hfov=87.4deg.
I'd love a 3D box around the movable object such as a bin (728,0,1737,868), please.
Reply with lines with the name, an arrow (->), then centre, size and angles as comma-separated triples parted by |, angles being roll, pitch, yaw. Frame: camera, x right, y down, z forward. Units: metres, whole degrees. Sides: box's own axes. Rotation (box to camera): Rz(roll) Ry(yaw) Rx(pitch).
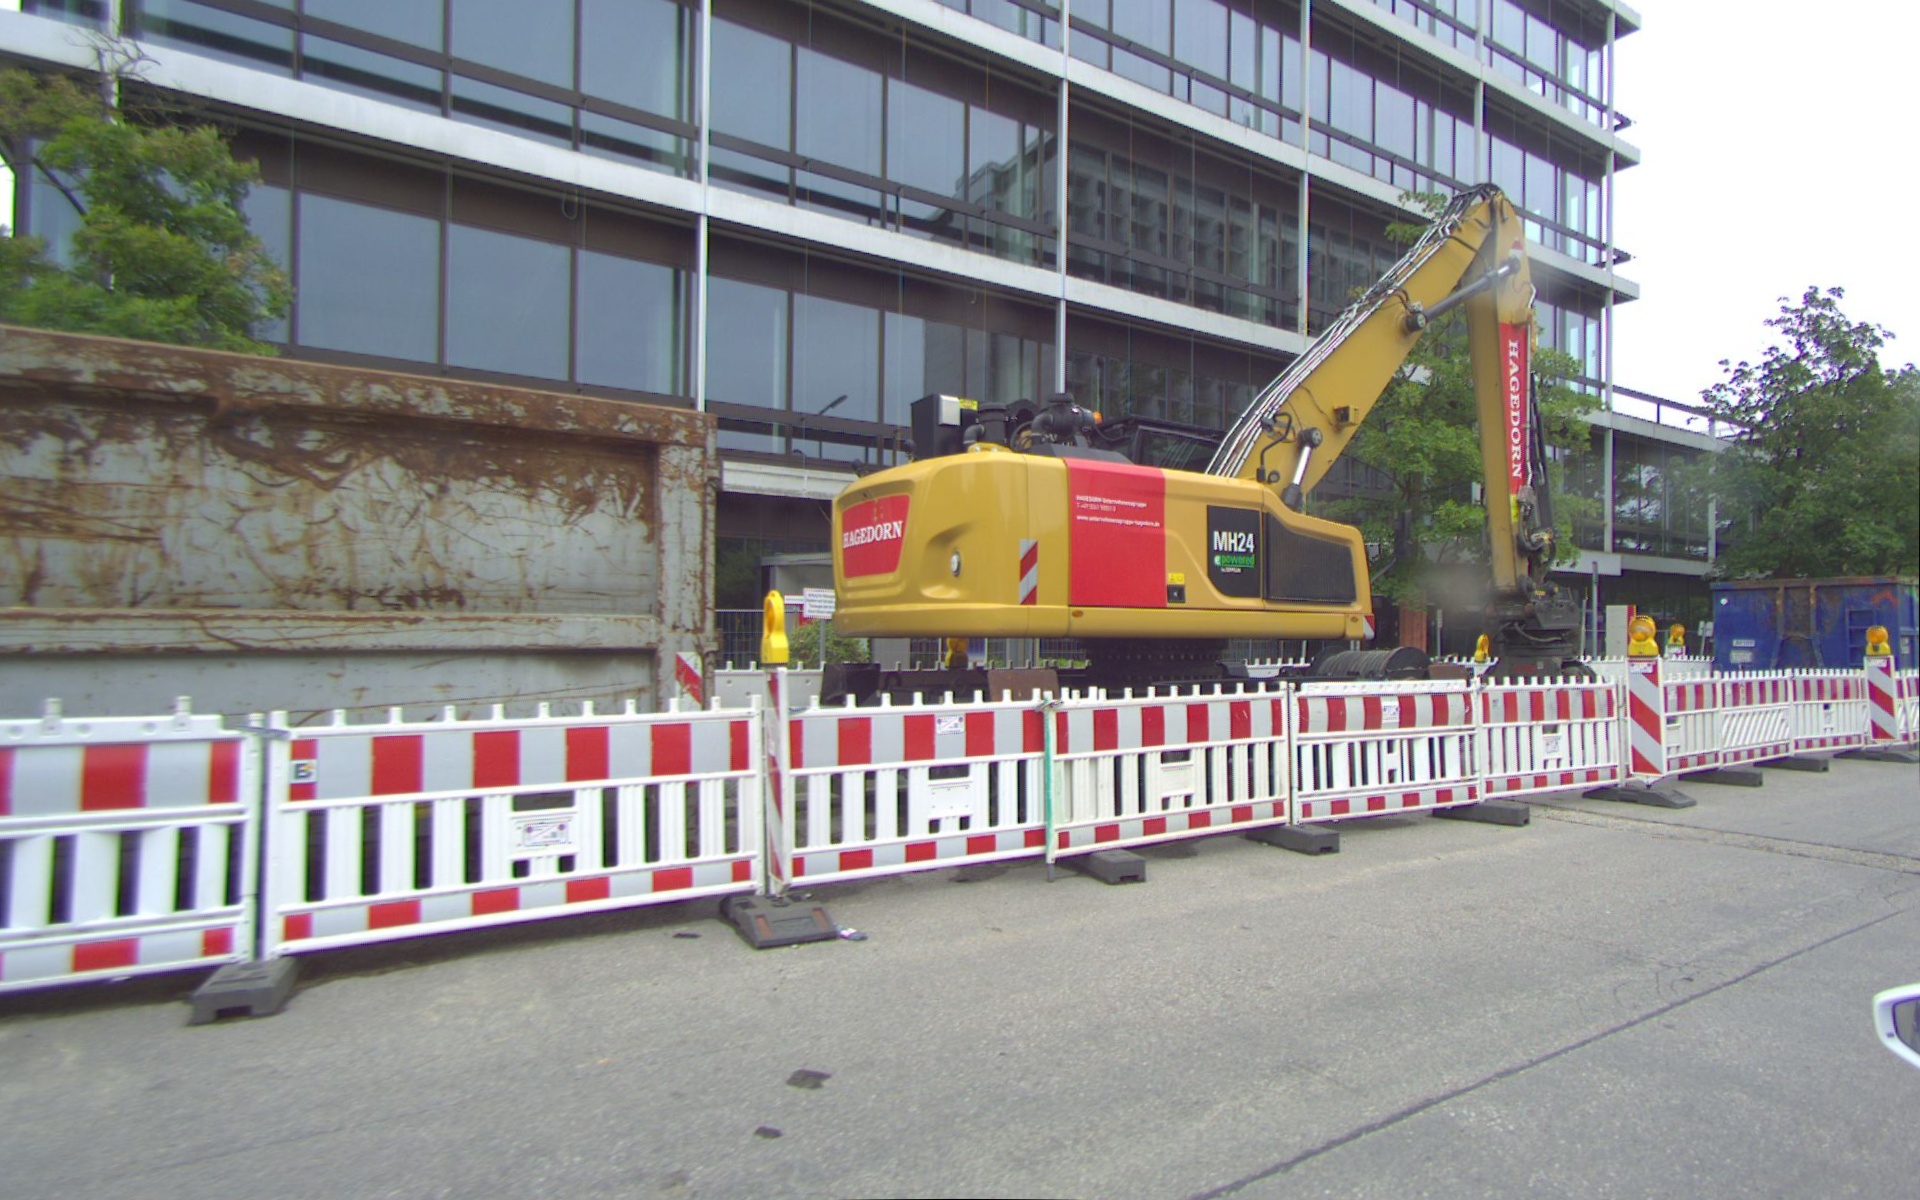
movable object such as a bin -> 3.788, -1.538, 10.333 | 11.655, 6.650, 2.888 | 2, -2, -33
